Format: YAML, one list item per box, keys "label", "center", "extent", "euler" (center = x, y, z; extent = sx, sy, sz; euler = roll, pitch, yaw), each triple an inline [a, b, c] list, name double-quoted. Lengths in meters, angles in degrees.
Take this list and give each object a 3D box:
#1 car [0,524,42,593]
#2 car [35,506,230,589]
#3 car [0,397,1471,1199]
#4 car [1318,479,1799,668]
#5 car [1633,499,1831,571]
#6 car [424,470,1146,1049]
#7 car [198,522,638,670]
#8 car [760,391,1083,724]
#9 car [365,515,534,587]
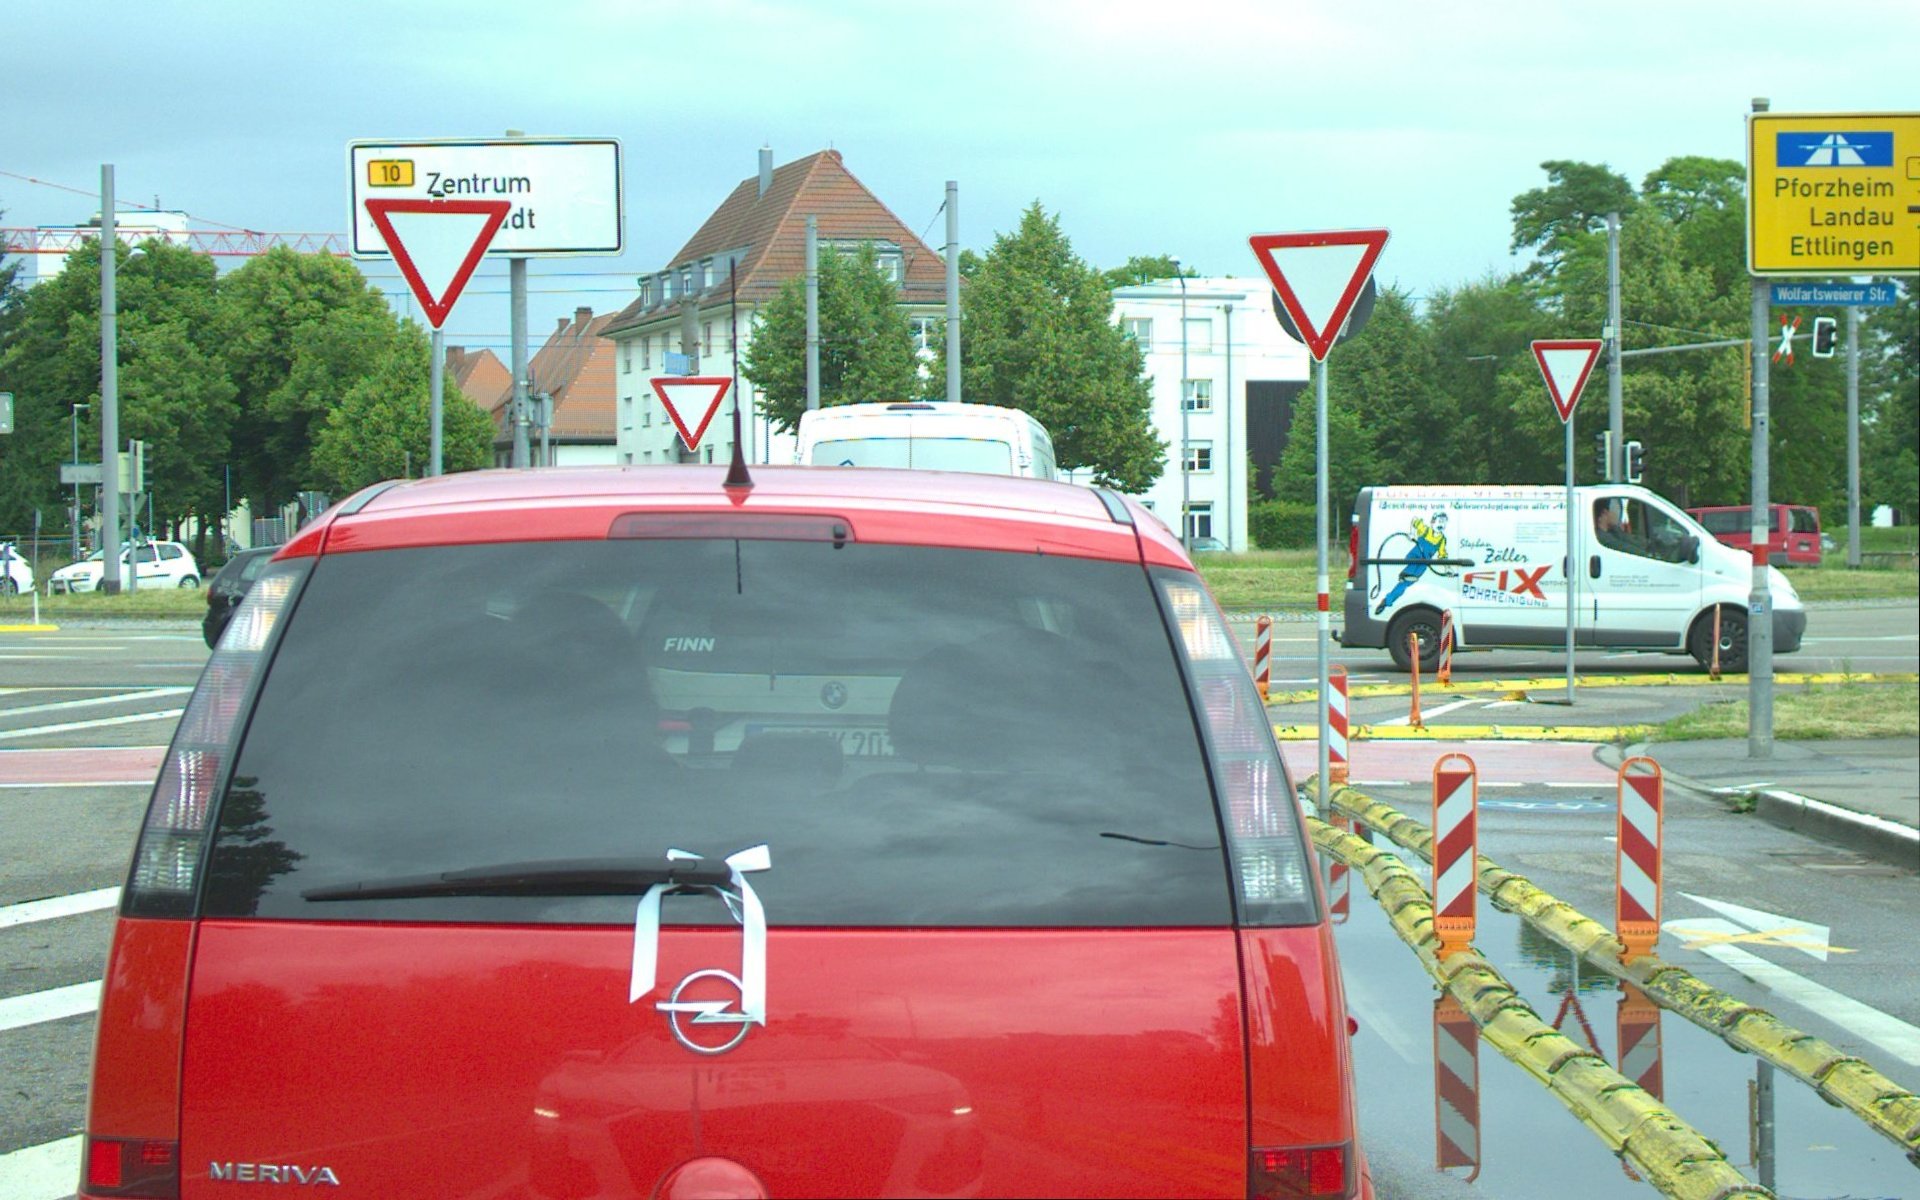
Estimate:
- label: "car"
  center: [-24.048, -0.955, 80.631]
  extent: [1.997, 1.629, 4.666]
  euler: [0, 1, 35]
- label: "car"
  center: [-20.453, -1.319, 85.154]
  extent: [1.997, 2.007, 4.471]
  euler: [0, 1, 35]
- label: "car"
  center: [-0.324, 0.571, 5.486]
  extent: [1.673, 1.635, 3.627]
  euler: [1, 1, -1]
- label: "car"
  center: [6.261, -0.285, 36.191]
  extent: [4.834, 1.893, 2.098]
  euler: [0, 1, 9]
- label: "car"
  center: [21.042, -1.767, 93.834]
  extent: [4.887, 1.911, 2.110]
  euler: [1, 2, 44]
- label: "car"
  center: [-0.532, 0.411, 12.185]
  extent: [2.059, 1.642, 4.607]
  euler: [1, 1, -1]
- label: "car"
  center: [-6.093, -0.051, 38.815]
  extent: [4.429, 1.597, 2.098]
  euler: [0, 1, 15]
- label: "car"
  center: [-0.215, -0.381, 28.929]
  extent: [2.195, 2.531, 4.961]
  euler: [1, 1, 5]
- label: "car"
  center: [-14.805, -1.429, 99.606]
  extent: [4.462, 2.007, 2.001]
  euler: [-1, 1, -23]
